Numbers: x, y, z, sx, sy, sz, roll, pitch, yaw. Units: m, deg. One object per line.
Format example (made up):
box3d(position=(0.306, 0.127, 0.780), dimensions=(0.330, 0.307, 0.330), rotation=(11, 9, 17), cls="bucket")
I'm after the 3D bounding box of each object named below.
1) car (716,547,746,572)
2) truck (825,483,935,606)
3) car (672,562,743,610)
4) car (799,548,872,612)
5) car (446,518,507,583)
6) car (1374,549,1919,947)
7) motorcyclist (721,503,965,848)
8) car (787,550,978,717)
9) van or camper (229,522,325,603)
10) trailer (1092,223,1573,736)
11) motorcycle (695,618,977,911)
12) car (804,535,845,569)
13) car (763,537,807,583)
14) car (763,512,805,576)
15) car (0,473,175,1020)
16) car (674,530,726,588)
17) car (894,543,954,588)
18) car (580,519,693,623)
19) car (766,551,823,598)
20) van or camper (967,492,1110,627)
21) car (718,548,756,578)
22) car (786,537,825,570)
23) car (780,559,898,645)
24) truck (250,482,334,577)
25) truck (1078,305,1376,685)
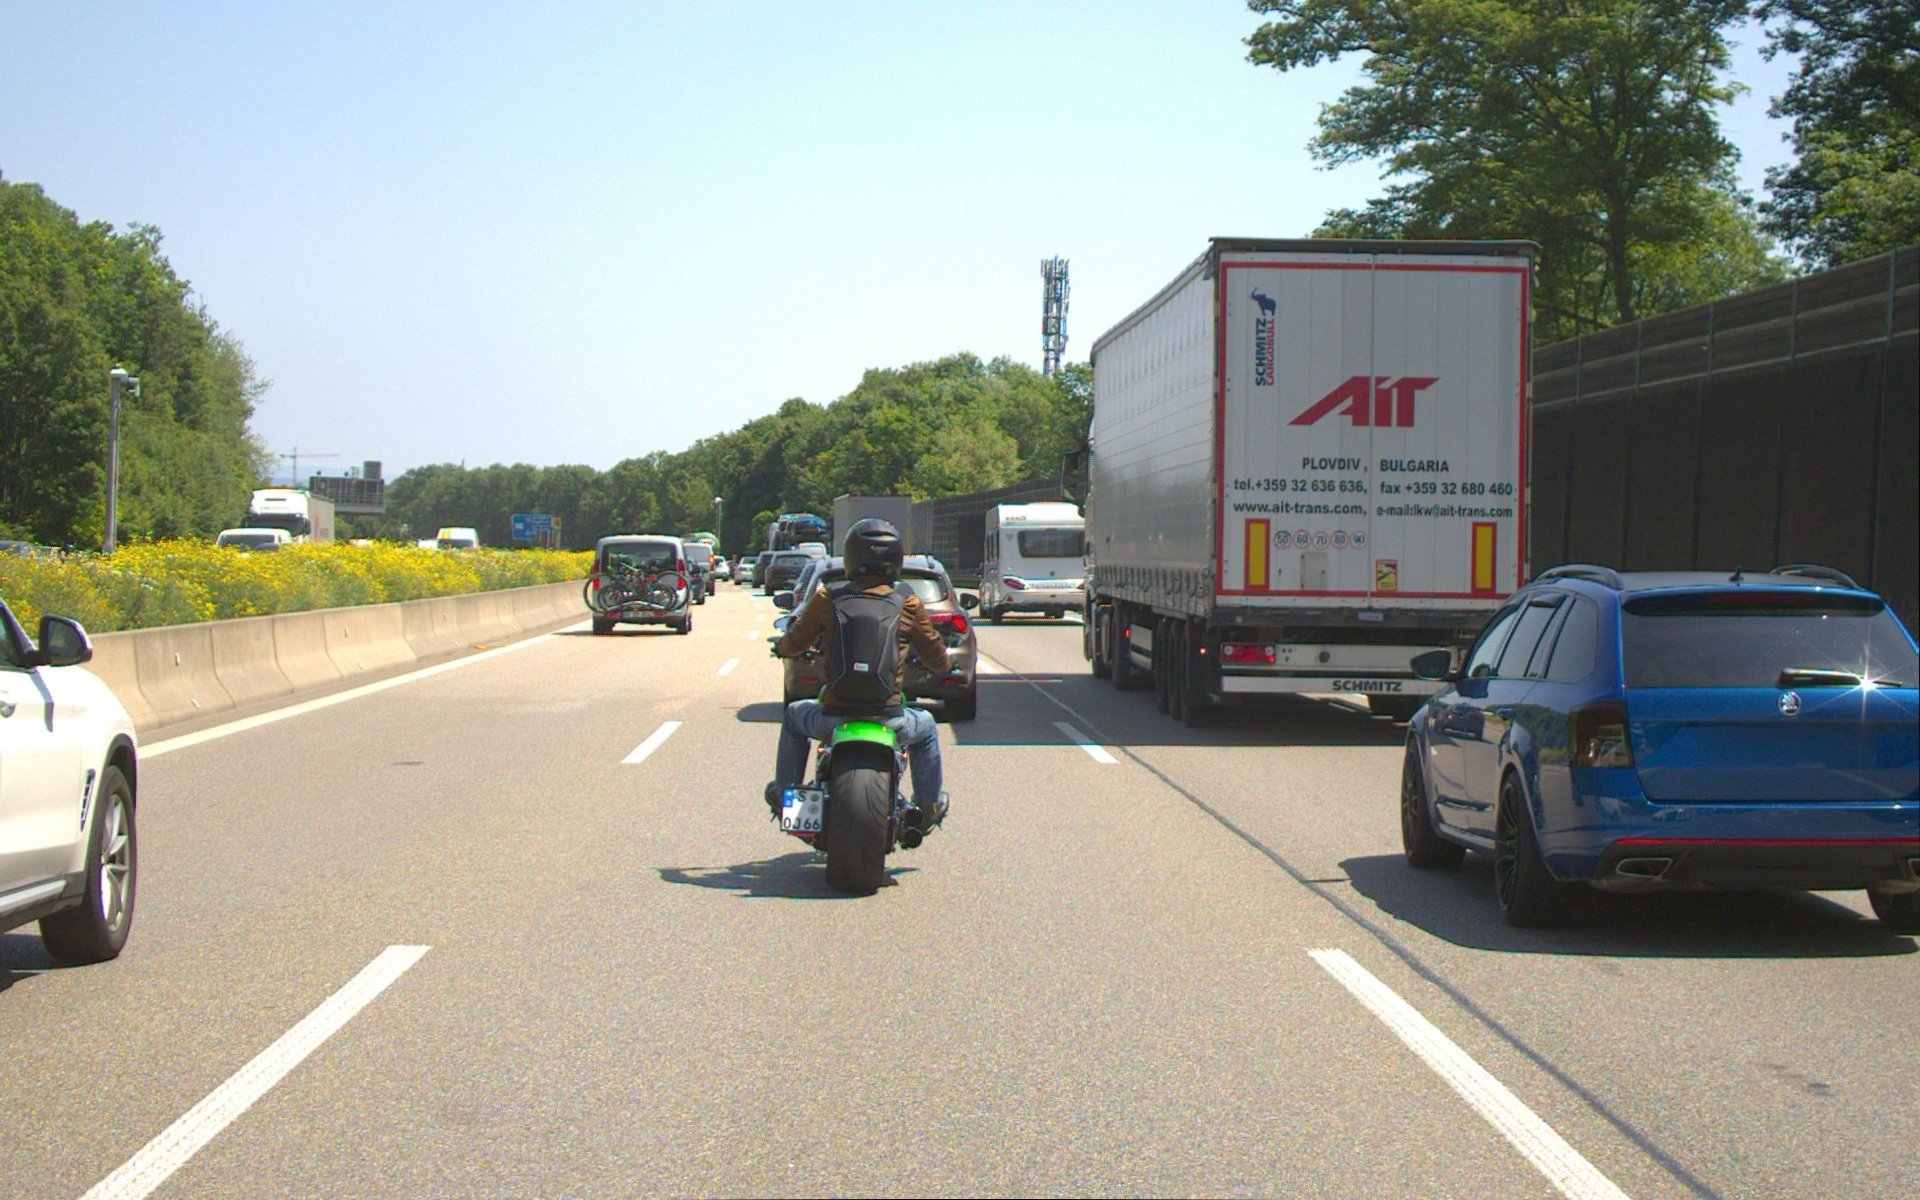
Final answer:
box3d(position=(-14.673, -2.579, 220.097), dimensions=(1.832, 1.491, 3.744), rotation=(1, 0, -5), cls="car")
box3d(position=(-3.429, -2.256, 144.358), dimensions=(3.802, 4.943, 8.952), rotation=(1, 0, -6), cls="truck")
box3d(position=(-7.476, -0.405, 102.054), dimensions=(1.993, 1.382, 4.000), rotation=(0, 0, -3), cls="car")
box3d(position=(-3.157, -0.518, 86.910), dimensions=(1.779, 1.546, 3.585), rotation=(1, 1, -3), cls="car")
box3d(position=(-22.254, -2.287, 158.374), dimensions=(2.068, 2.886, 7.463), rotation=(0, 1, -3), cls="car")
box3d(position=(2.991, 0.565, 15.093), dimensions=(1.650, 1.477, 4.482), rotation=(1, 0, -2), cls="car")
box3d(position=(-0.502, 0.326, 15.670), dimensions=(0.900, 1.470, 1.871), rotation=(0, 0, 4), cls="motorcyclist")
box3d(position=(-0.737, 0.304, 32.161), dimensions=(1.662, 1.448, 3.869), rotation=(0, 0, -2), cls="car")
box3d(position=(-17.452, -0.954, 87.998), dimensions=(1.692, 2.005, 4.213), rotation=(0, 1, -1), cls="van or camper")
box3d(position=(3.203, -1.040, 34.026), dimensions=(2.885, 4.025, 13.796), rotation=(1, 1, -1), cls="trailer")
box3d(position=(-0.511, 0.692, 15.712), dimensions=(0.965, 1.144, 2.811), rotation=(1, 1, 4), cls="motorcycle")
box3d(position=(-7.702, -2.723, 195.001), dimensions=(2.107, 1.870, 4.000), rotation=(1, 0, -4), cls="car")
box3d(position=(-7.868, -1.776, 154.365), dimensions=(1.911, 2.007, 3.691), rotation=(0, 0, -4), cls="car")
box3d(position=(-10.988, -3.483, 214.408), dimensions=(2.133, 3.848, 8.144), rotation=(1, 1, -6), cls="car")
box3d(position=(-3.899, 0.444, 10.814), dimensions=(1.864, 1.688, 4.956), rotation=(0, 1, -2), cls="car")
box3d(position=(-9.330, -1.456, 123.616), dimensions=(1.791, 2.007, 3.642), rotation=(0, 0, -4), cls="car")
box3d(position=(-1.325, -1.239, 125.428), dimensions=(1.993, 1.569, 4.000), rotation=(0, 0, -3), cls="car")
box3d(position=(-5.995, -0.510, 64.098), dimensions=(1.899, 1.867, 4.413), rotation=(0, 0, -3), cls="car")
box3d(position=(-5.970, -0.905, 123.484), dimensions=(1.993, 1.634, 4.000), rotation=(0, 0, -4), cls="car")
box3d(position=(1.654, -0.833, 75.567), dimensions=(2.685, 2.803, 6.803), rotation=(0, 0, -2), cls="van or camper")
box3d(position=(-11.585, -1.933, 178.958), dimensions=(1.832, 1.491, 3.744), rotation=(0, 0, -1), cls="car")
box3d(position=(-9.001, -2.708, 200.417), dimensions=(2.107, 1.870, 4.000), rotation=(1, 0, -5), cls="car")
box3d(position=(-2.140, 0.044, 60.092), dimensions=(1.993, 1.425, 3.847), rotation=(0, 0, -3), cls="car")
box3d(position=(-29.983, -3.122, 154.587), dimensions=(2.963, 4.093, 6.089), rotation=(0, 0, -4), cls="truck")
box3d(position=(3.026, -1.188, 40.653), dimensions=(2.885, 4.132, 5.986), rotation=(1, 1, -1), cls="truck")
